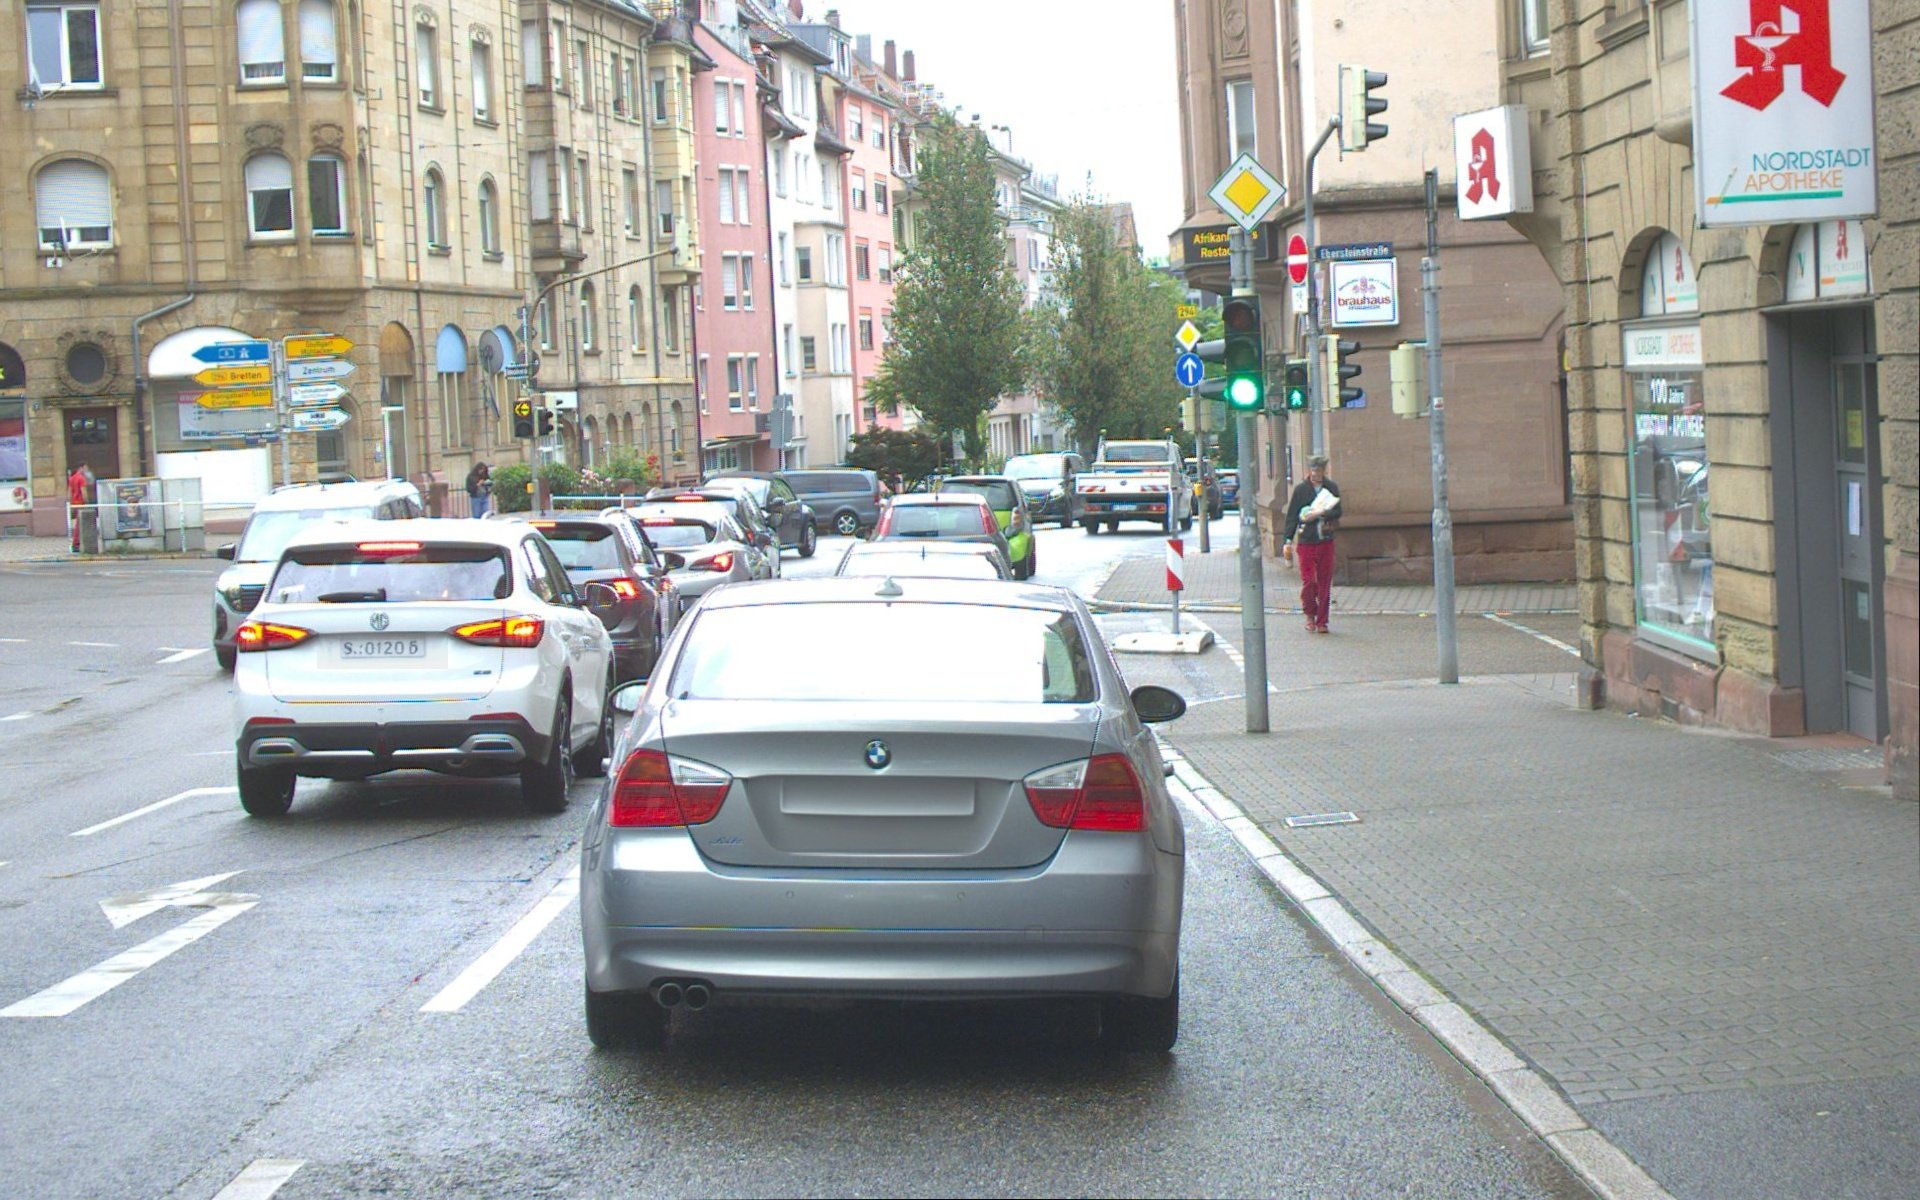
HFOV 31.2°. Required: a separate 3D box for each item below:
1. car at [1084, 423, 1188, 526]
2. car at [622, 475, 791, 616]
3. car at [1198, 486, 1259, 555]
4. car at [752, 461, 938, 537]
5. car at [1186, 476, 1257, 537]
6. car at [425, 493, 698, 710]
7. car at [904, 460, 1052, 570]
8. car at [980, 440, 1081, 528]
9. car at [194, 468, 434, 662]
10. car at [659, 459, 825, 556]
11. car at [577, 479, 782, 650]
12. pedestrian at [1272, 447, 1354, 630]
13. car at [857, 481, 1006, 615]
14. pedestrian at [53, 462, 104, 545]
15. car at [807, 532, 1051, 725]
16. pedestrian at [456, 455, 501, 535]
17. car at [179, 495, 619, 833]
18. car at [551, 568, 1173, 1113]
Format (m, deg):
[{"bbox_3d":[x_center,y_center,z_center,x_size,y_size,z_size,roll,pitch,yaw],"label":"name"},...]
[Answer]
[{"bbox_3d":[3.712,-2.628,72.943,1.993,2.099,4.000,0,1,0],"label":"car"},{"bbox_3d":[-3.177,-0.701,43.679,1.759,1.702,4.000,0,1,1],"label":"car"},{"bbox_3d":[8.266,-2.434,105.606,1.725,2.007,3.999,1,0,6],"label":"car"},{"bbox_3d":[-3.228,-2.859,97.746,5.176,2.007,2.699,1,0,0],"label":"car"},{"bbox_3d":[7.065,-2.512,93.255,1.725,1.547,4.000,1,0,2],"label":"car"},{"bbox_3d":[-3.309,-0.031,29.232,1.759,1.702,4.000,0,1,1],"label":"car"},{"bbox_3d":[0.308,-1.284,51.641,1.760,1.562,3.999,-1,1,7],"label":"car"},{"bbox_3d":[1.770,-2.851,85.146,1.994,2.007,3.999,-2,0,8],"label":"car"},{"bbox_3d":[-6.874,-0.406,36.995,1.761,1.919,4.324,-2,1,-1],"label":"car"},{"bbox_3d":[-3.679,-1.548,58.699,1.845,1.535,3.998,1,0,11],"label":"car"},{"bbox_3d":[-2.920,-0.398,36.530,1.759,1.702,4.000,0,1,1],"label":"car"},{"bbox_3d":[3.720,-0.652,36.309,0.742,1.903,0.659,-2,1,-1],"label":"pedestrian"},{"bbox_3d":[-0.290,-0.625,40.070,1.595,1.459,4.000,-1,1,1],"label":"car"},{"bbox_3d":[-16.903,-1.847,65.935,0.537,1.572,0.718,-1,1,34],"label":"pedestrian"},{"bbox_3d":[-0.187,0.166,26.920,1.759,1.378,4.000,0,1,1],"label":"car"},{"bbox_3d":[-9.639,-2.105,68.843,0.732,1.572,0.528,-1,1,9],"label":"pedestrian"},{"bbox_3d":[-3.134,0.276,20.012,1.868,1.620,4.001,-2,3,0],"label":"car"},{"bbox_3d":[-0.222,0.617,10.841,1.623,1.378,3.615,0,1,1],"label":"car"}]
